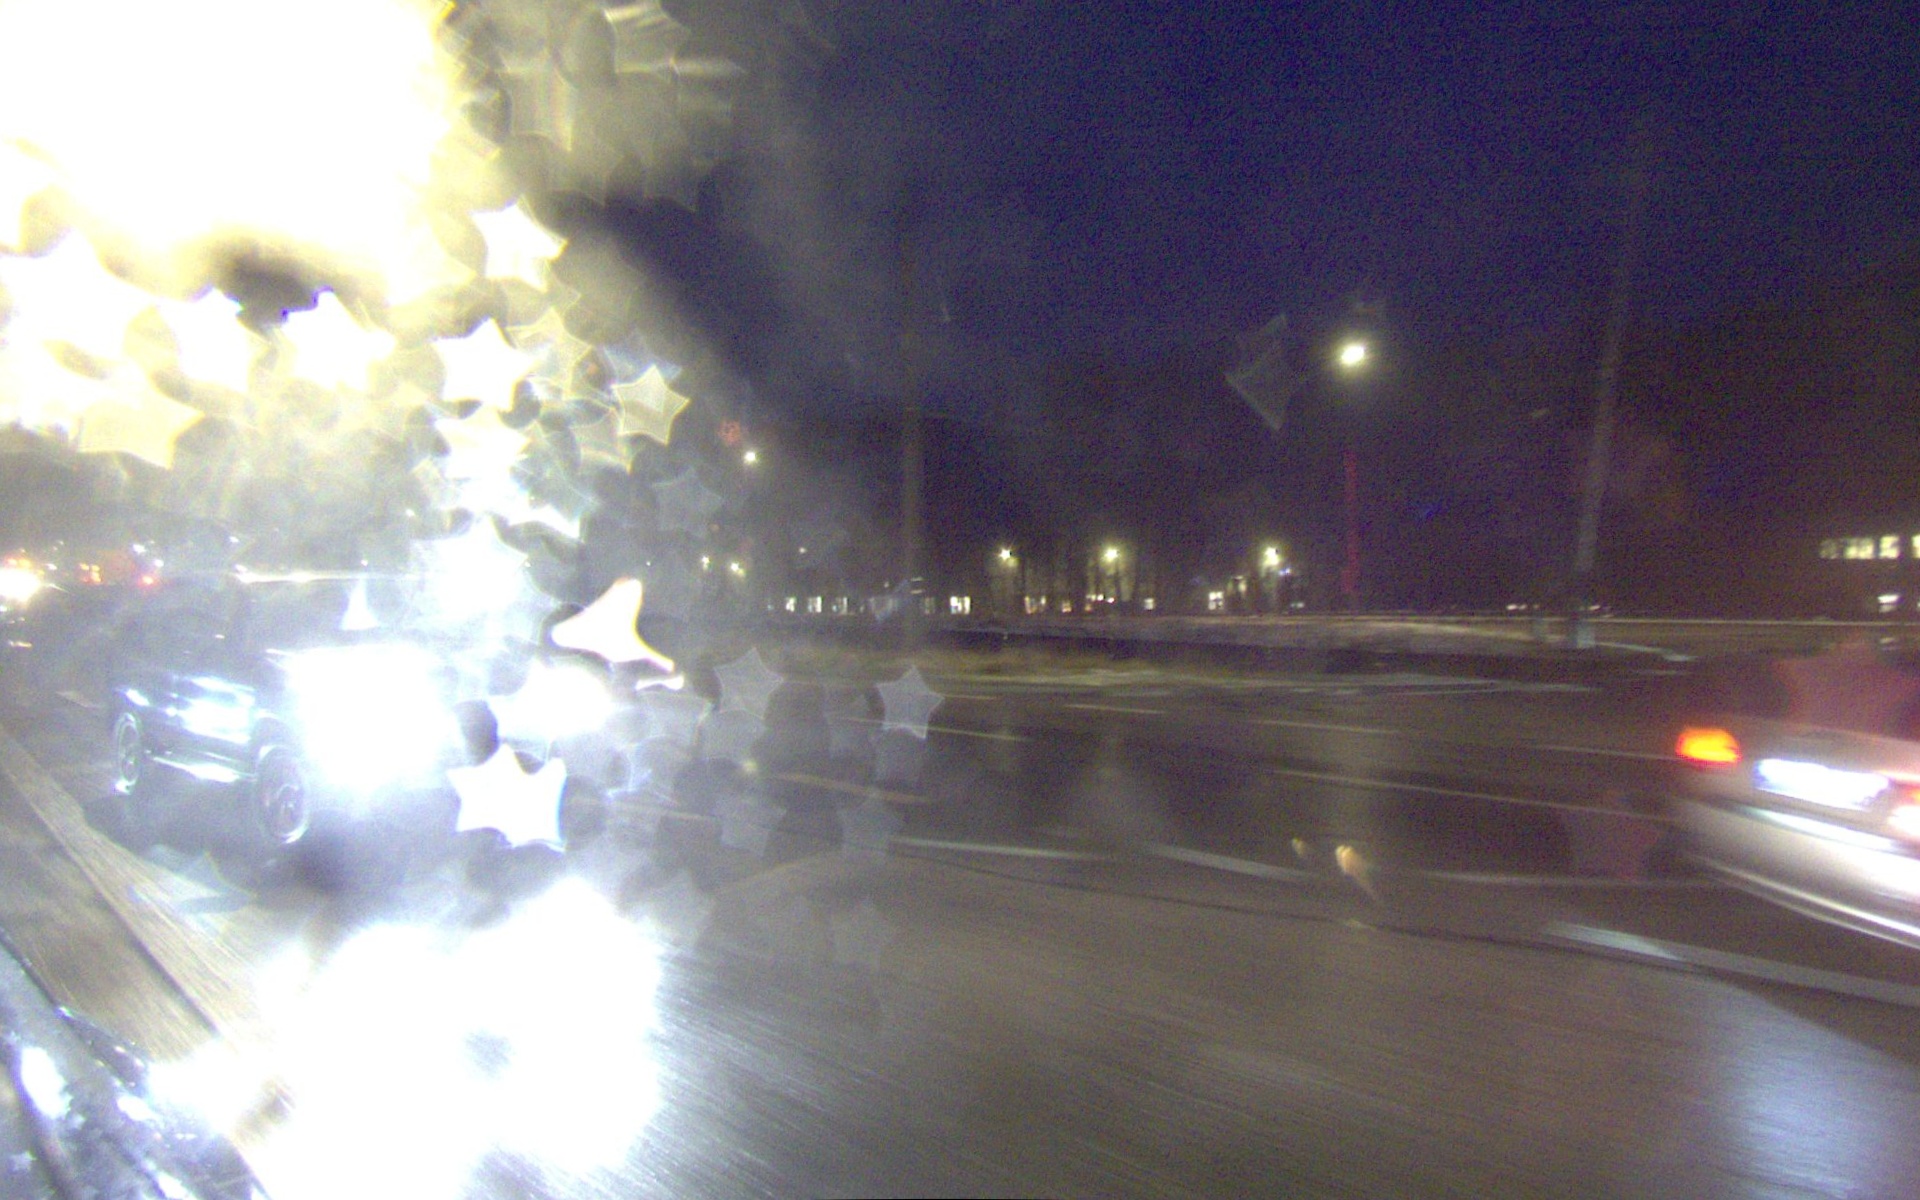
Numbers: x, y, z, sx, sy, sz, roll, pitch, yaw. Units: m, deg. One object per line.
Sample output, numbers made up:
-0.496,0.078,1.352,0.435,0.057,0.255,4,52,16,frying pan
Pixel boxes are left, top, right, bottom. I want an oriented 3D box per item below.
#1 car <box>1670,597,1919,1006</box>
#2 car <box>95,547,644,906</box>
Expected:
5.489,0.672,3.798,4.441,1.375,1.666,-1,0,0,car
-4.496,0.647,7.419,4.518,1.857,1.974,0,1,38,car
